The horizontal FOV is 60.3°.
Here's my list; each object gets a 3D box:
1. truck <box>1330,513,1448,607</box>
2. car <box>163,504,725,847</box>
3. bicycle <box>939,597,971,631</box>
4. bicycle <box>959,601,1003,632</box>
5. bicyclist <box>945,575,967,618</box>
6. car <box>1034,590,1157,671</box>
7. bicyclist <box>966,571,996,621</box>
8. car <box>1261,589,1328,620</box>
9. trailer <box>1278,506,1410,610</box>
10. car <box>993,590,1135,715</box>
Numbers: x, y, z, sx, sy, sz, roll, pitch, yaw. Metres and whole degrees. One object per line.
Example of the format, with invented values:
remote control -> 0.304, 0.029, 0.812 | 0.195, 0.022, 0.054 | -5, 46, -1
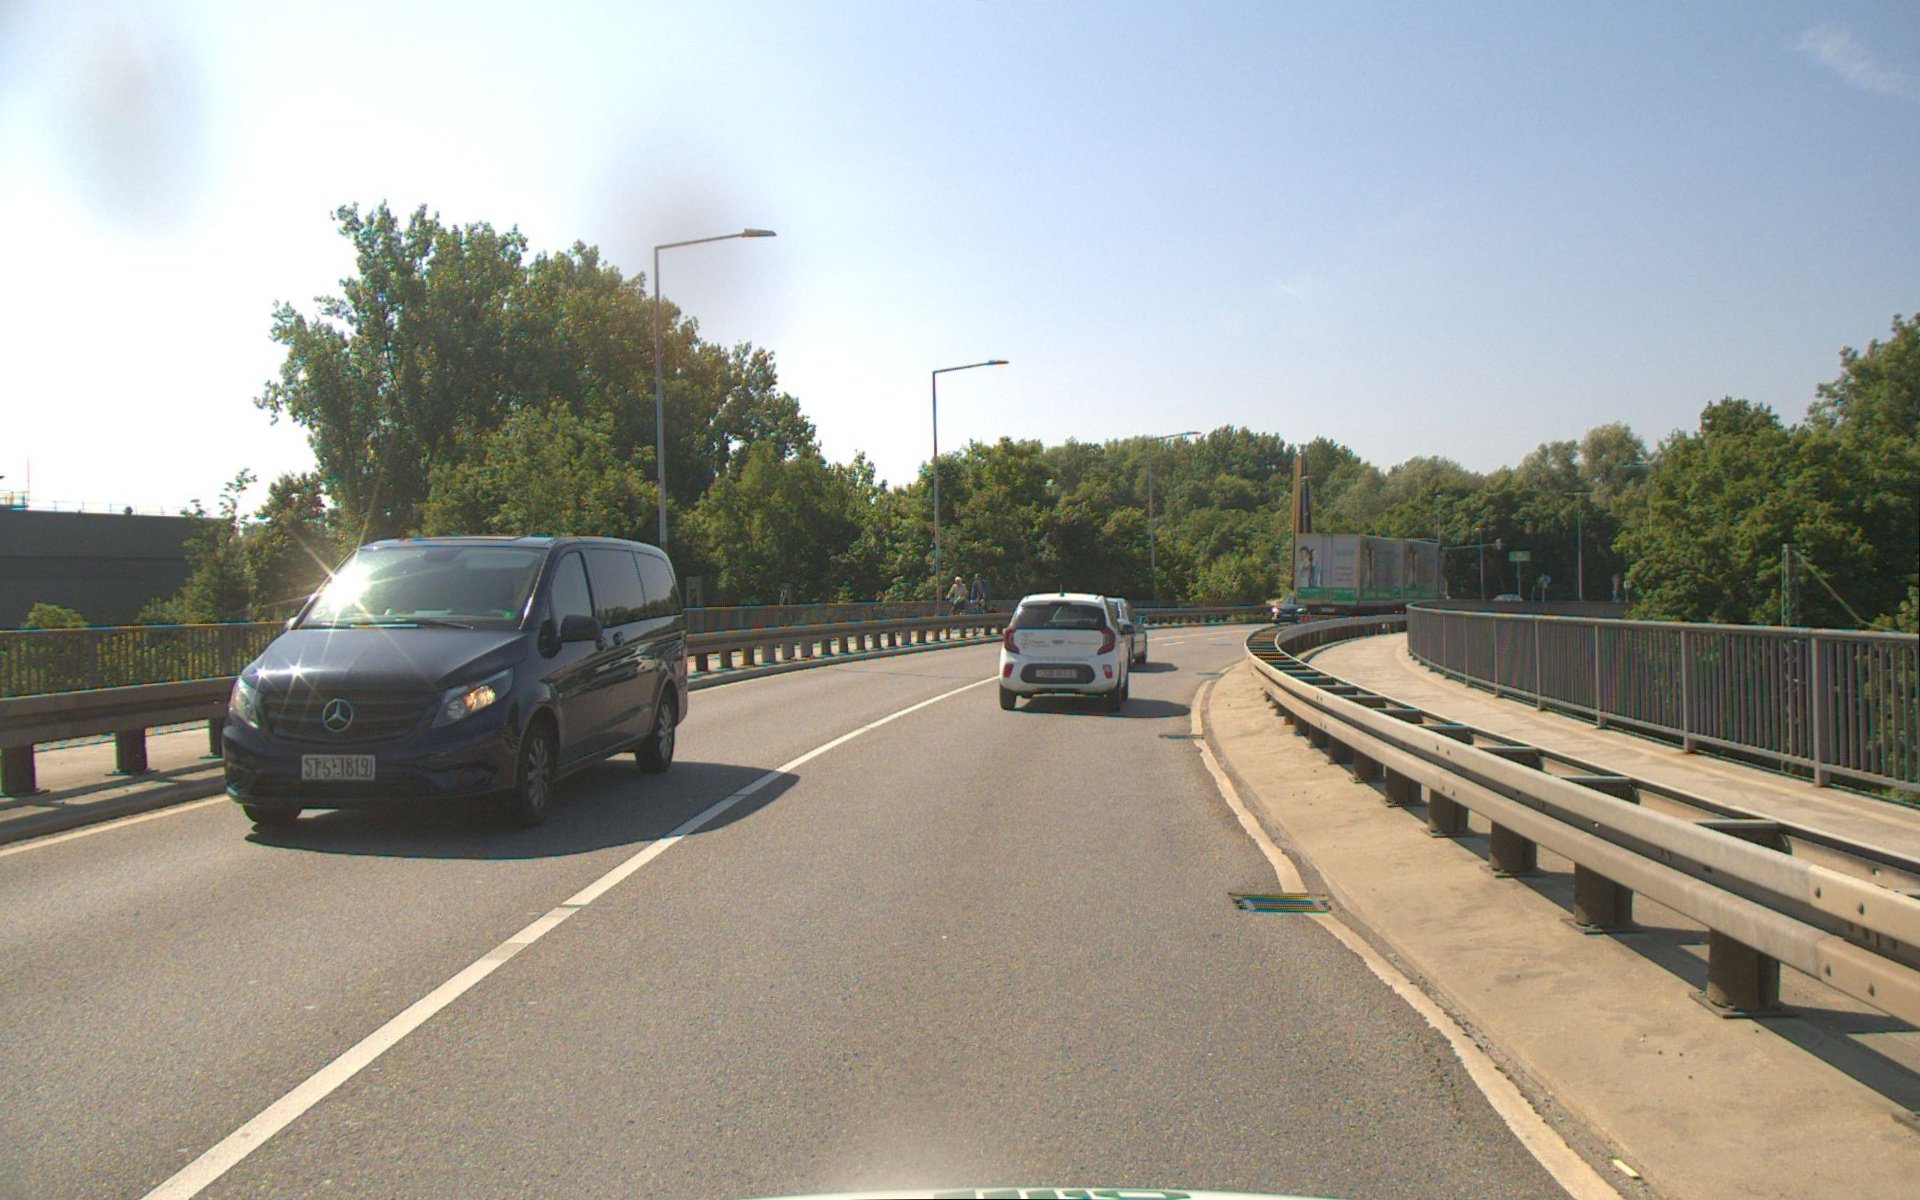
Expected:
truck -> 18.969, -1.730, 72.730 | 3.198, 3.823, 8.361 | 3, 2, 27
car -> -3.397, 0.432, 12.473 | 2.032, 1.921, 5.917 | 1, 0, 3
bicycle -> -0.148, 0.446, 53.545 | 0.562, 1.065, 1.711 | -2, 1, 15
bicycle -> 0.681, 0.524, 52.099 | 0.909, 0.906, 1.969 | 0, 1, 15
bicyclist -> -0.127, -0.115, 53.464 | 0.478, 1.352, 0.947 | 1, -1, 14
car -> 2.910, 0.575, 34.571 | 1.897, 1.512, 4.904 | 1, 1, 13
bicyclist -> 0.671, -0.123, 52.133 | 0.646, 1.522, 1.016 | 1, 2, 20
car -> 16.329, 0.198, 80.599 | 1.784, 1.455, 4.856 | 0, 1, 29
trailer -> 15.351, -1.644, 65.679 | 3.162, 3.823, 7.815 | 3, 2, 27
car -> 1.519, 0.674, 22.805 | 1.665, 1.520, 4.003 | 2, 0, 7
